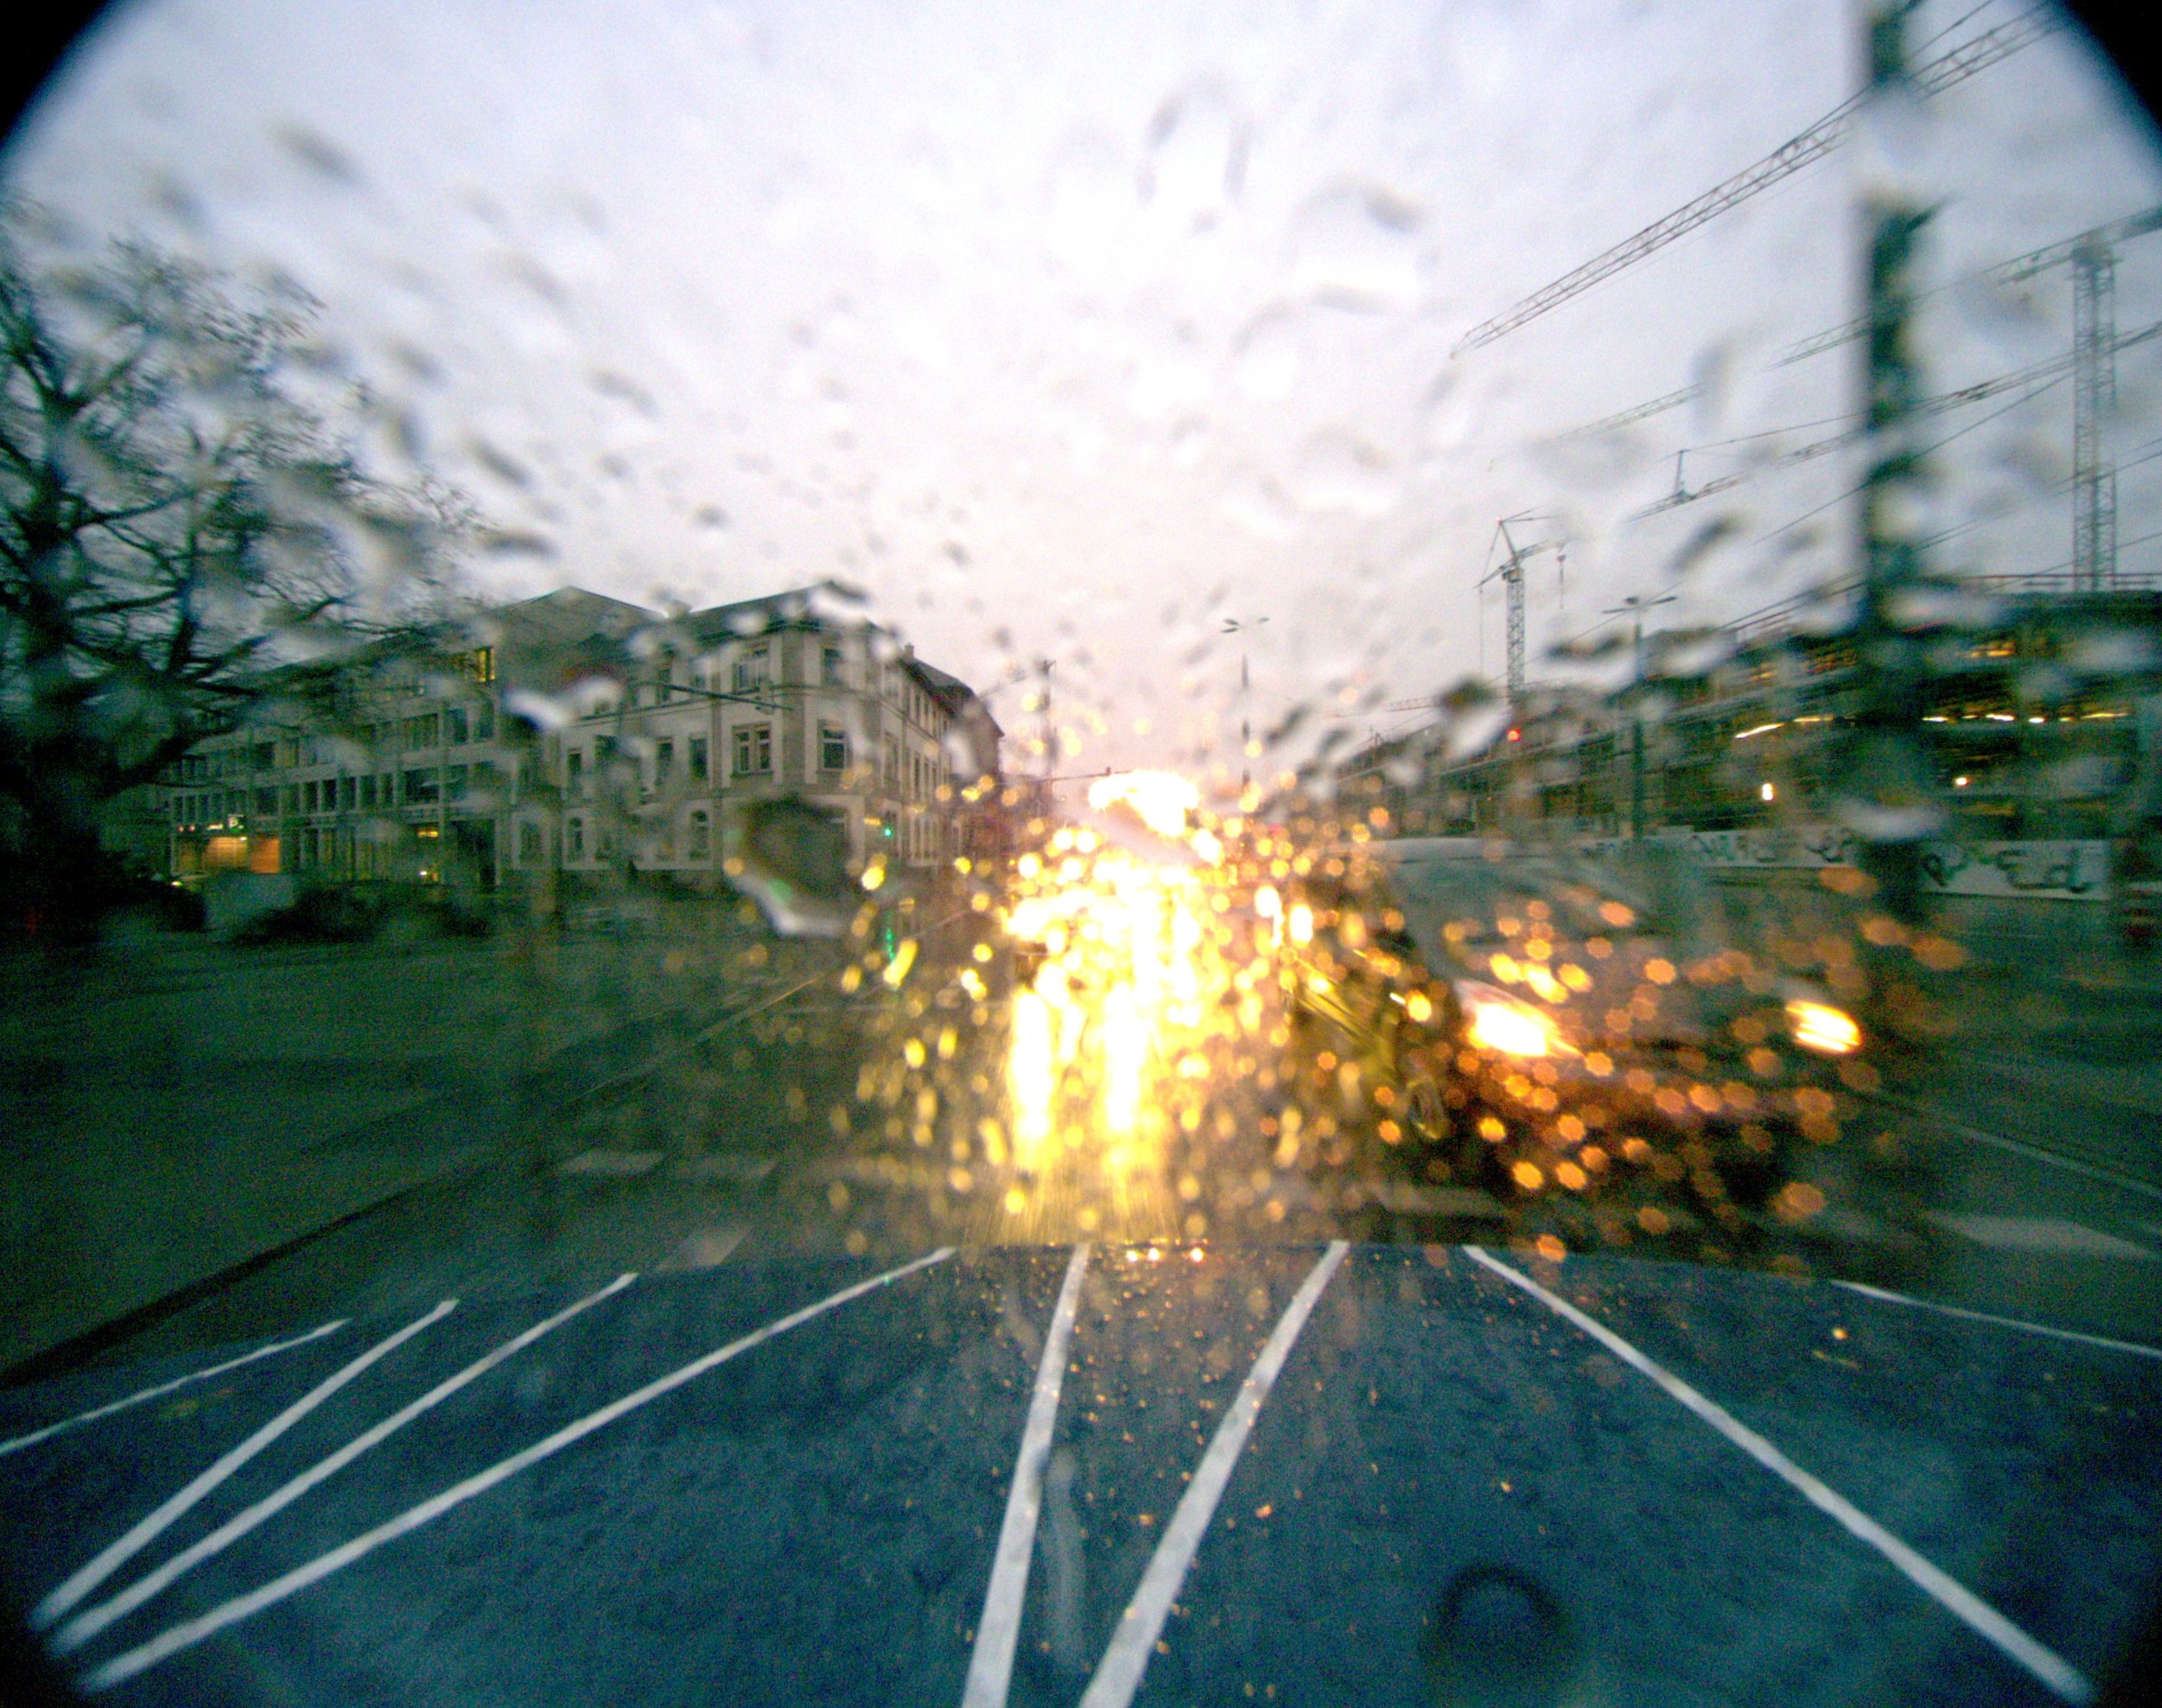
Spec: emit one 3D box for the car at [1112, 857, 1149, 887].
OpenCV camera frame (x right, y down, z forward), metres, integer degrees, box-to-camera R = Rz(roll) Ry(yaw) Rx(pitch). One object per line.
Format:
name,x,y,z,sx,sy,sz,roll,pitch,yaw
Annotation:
car,2.895,1.017,45.045,1.844,1.644,4.323,-2,0,0

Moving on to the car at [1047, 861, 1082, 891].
car,-0.889,1.155,41.065,1.764,1.443,3.999,-2,0,-1

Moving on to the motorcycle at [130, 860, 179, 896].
motorcycle,-42.808,1.123,35.109,3.516,1.550,0.950,-2,1,32

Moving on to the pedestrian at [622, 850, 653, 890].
pedestrian,-22.256,0.801,38.112,0.976,1.969,0.869,-2,1,23

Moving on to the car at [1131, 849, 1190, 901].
car,2.852,0.702,28.025,1.857,1.723,4.000,-2,0,2

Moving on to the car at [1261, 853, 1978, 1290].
car,2.492,0.821,4.847,1.764,1.584,4.000,-2,0,1

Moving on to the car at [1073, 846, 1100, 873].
car,0.403,0.410,57.215,1.858,1.886,3.999,-2,0,-1

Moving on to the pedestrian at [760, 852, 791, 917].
pedestrian,-9.025,0.896,22.465,0.676,1.868,0.713,-2,1,-32

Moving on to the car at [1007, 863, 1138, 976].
car,-0.144,0.930,12.525,1.764,1.443,3.999,-2,0,-1

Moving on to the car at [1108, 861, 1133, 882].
car,3.253,1.415,62.919,1.844,1.547,4.000,-2,0,0

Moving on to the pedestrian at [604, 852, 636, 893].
pedestrian,-22.625,0.912,37.279,0.976,1.969,0.869,-2,1,23
